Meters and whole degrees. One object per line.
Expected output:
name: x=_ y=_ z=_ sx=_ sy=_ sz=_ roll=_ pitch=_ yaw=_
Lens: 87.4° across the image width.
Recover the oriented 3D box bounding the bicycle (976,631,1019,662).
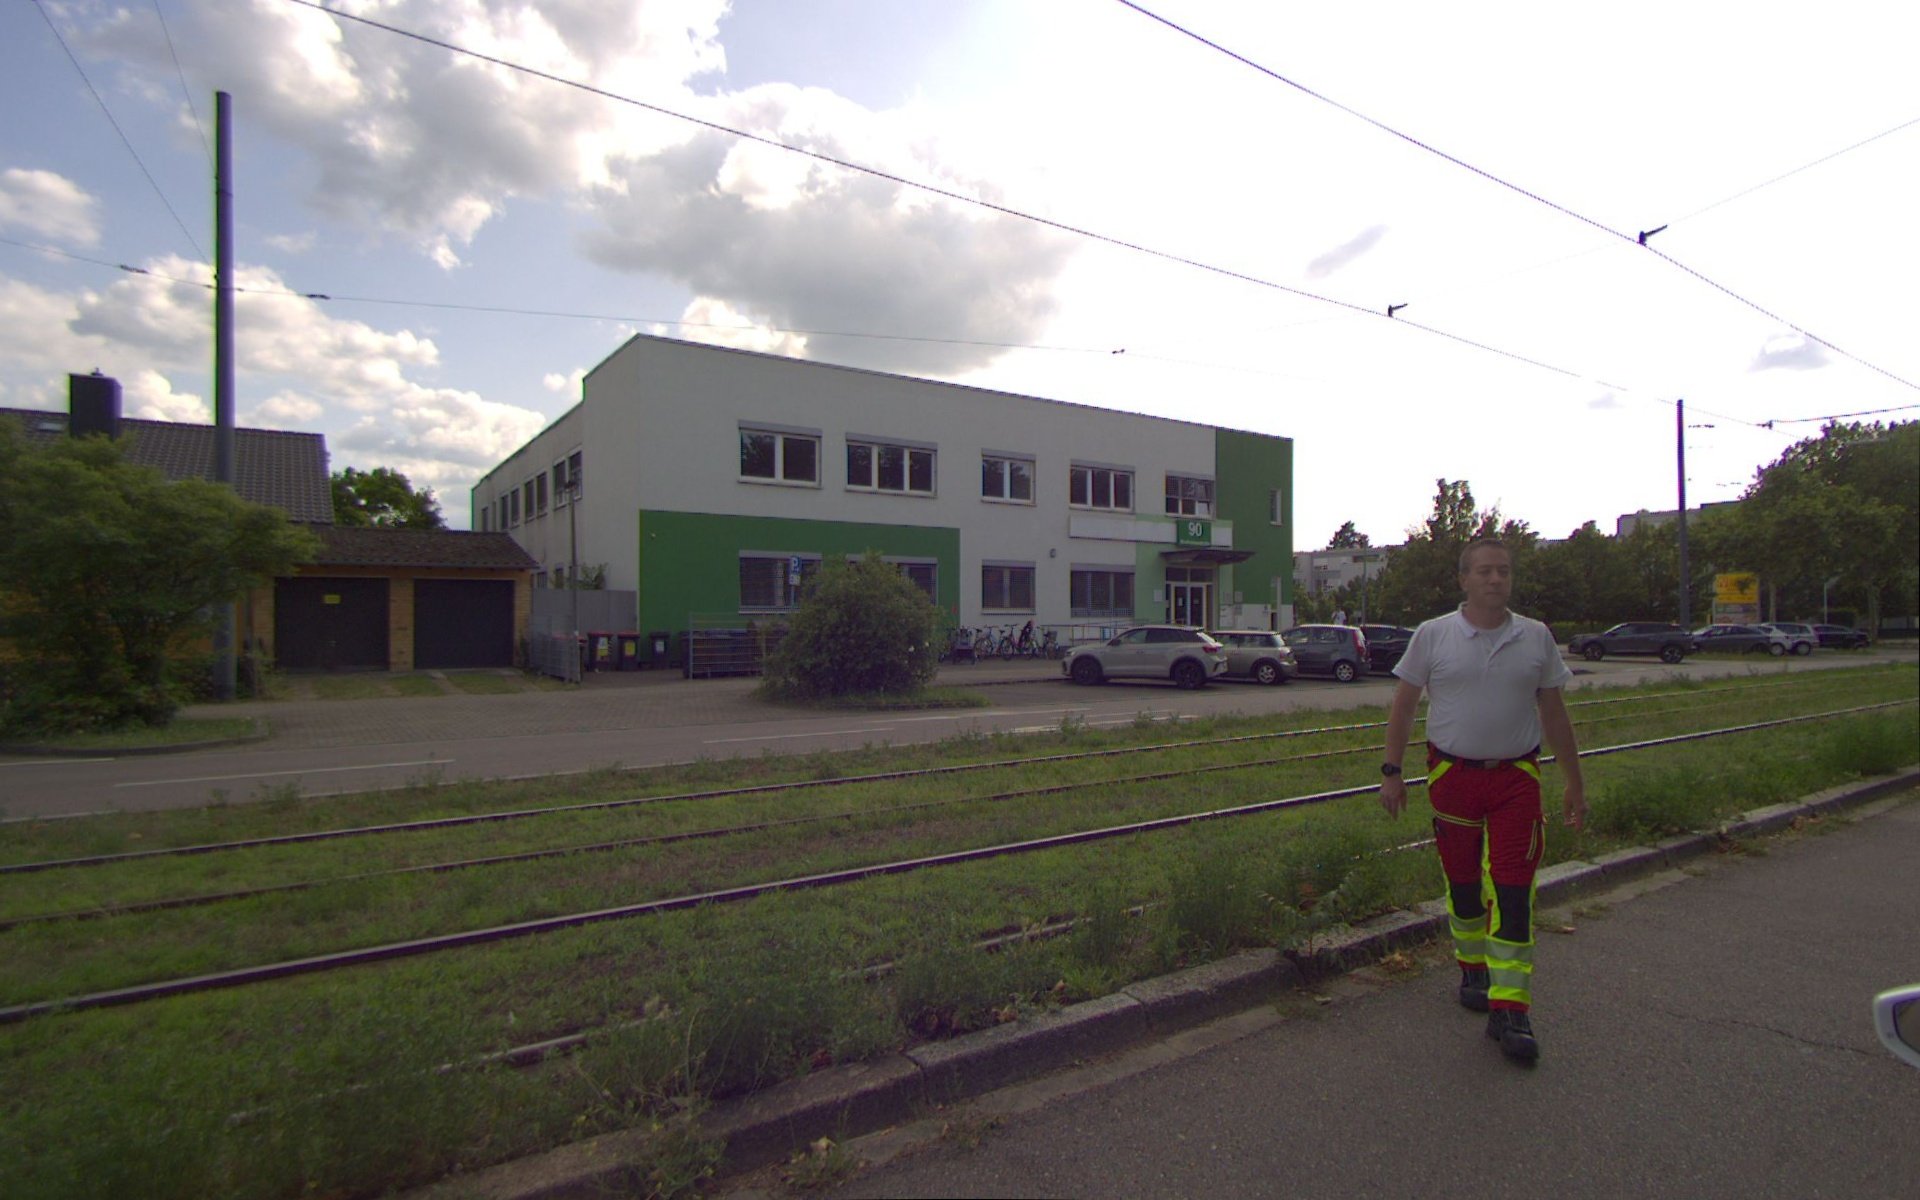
bicycle: x=1.237 y=1.546 z=33.627 sx=0.454 sy=0.911 sz=1.847 roll=2 pitch=0 yaw=-33

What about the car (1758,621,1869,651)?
car: x=46.092 y=1.943 z=54.346 sx=4.150 sy=1.501 sz=1.884 roll=1 pitch=-1 yaw=17

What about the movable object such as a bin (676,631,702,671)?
movable object such as a bin: x=-7.609 y=1.418 z=28.159 sx=0.558 sy=1.056 sz=0.565 roll=-1 pitch=1 yaw=-33

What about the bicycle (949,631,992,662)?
bicycle: x=0.316 y=1.517 z=32.965 sx=0.454 sy=0.911 sz=1.847 roll=2 pitch=0 yaw=-33

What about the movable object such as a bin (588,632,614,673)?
movable object such as a bin: x=-9.577 y=1.397 z=26.800 sx=0.558 sy=1.056 sz=0.565 roll=-1 pitch=1 yaw=-33

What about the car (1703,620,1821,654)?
car: x=39.494 y=1.799 z=49.603 sx=4.152 sy=1.501 sz=1.883 roll=1 pitch=-1 yaw=21

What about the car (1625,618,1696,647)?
car: x=47.832 y=2.177 z=68.700 sx=1.961 sy=1.773 sz=3.998 roll=1 pitch=0 yaw=-2

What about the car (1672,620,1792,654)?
car: x=36.891 y=1.760 z=48.106 sx=4.152 sy=1.501 sz=1.883 roll=1 pitch=-1 yaw=21

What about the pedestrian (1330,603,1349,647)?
pedestrian: x=16.091 y=1.076 z=42.622 sx=0.504 sy=1.852 sz=0.542 roll=1 pitch=-1 yaw=-36

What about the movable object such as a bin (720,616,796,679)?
movable object such as a bin: x=-5.203 y=1.195 z=25.905 sx=1.692 sy=1.540 sz=1.000 roll=0 pitch=1 yaw=-32

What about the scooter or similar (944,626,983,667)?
scooter or similar: x=0.087 y=1.427 z=30.889 sx=1.073 sy=1.171 sz=1.306 roll=2 pitch=0 yaw=-5

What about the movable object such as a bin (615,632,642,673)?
movable object such as a bin: x=-8.986 y=1.425 z=27.228 sx=0.558 sy=1.056 sz=0.565 roll=-1 pitch=1 yaw=-33

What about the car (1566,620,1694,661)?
car: x=26.677 y=1.588 z=40.155 sx=4.161 sy=1.501 sz=1.879 roll=1 pitch=-1 yaw=32

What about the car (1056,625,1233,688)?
car: x=4.731 y=1.403 z=25.719 sx=4.153 sy=1.501 sz=1.883 roll=-1 pitch=-1 yaw=22

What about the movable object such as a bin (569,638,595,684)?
movable object such as a bin: x=-9.021 y=1.447 z=23.978 sx=0.477 sy=1.056 sz=0.501 roll=-1 pitch=1 yaw=-34

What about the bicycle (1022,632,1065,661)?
bicycle: x=2.866 y=1.590 z=34.674 sx=0.454 sy=0.911 sz=1.847 roll=2 pitch=0 yaw=-33

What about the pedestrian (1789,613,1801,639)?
pedestrian: x=54.864 y=1.715 z=65.968 sx=0.597 sy=1.699 sz=0.463 roll=1 pitch=-1 yaw=-36

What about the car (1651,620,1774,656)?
car: x=34.604 y=1.722 z=46.326 sx=4.152 sy=1.501 sz=1.883 roll=1 pitch=-1 yaw=21

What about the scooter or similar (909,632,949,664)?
scooter or similar: x=-1.000 y=1.531 z=32.218 sx=0.454 sy=0.911 sz=1.725 roll=2 pitch=0 yaw=-33

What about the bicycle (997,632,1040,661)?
bicycle: x=1.977 y=1.570 z=34.123 sx=0.454 sy=0.911 sz=1.847 roll=2 pitch=0 yaw=-33

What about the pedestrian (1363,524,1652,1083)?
pedestrian: x=1.893 y=0.627 z=3.611 sx=0.790 sy=1.709 sz=0.851 roll=0 pitch=0 yaw=21

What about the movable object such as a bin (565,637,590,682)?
movable object such as a bin: x=-9.321 y=1.432 z=24.447 sx=0.474 sy=1.056 sz=0.490 roll=-1 pitch=1 yaw=-34

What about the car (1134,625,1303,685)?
car: x=7.047 y=1.464 z=27.412 sx=4.157 sy=1.501 sz=1.881 roll=-1 pitch=-2 yaw=27

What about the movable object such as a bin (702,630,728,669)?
movable object such as a bin: x=-6.964 y=1.391 z=28.578 sx=0.558 sy=1.056 sz=0.565 roll=-1 pitch=1 yaw=-33

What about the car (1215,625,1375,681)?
car: x=9.661 y=1.504 z=28.986 sx=4.157 sy=1.501 sz=1.881 roll=-1 pitch=-2 yaw=27

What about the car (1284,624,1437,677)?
car: x=12.219 y=1.513 z=30.663 sx=4.157 sy=1.501 sz=1.881 roll=-1 pitch=-2 yaw=27

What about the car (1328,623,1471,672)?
car: x=14.333 y=1.523 z=32.802 sx=4.157 sy=1.501 sz=1.881 roll=-1 pitch=-2 yaw=27

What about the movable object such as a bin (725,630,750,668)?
movable object such as a bin: x=-6.413 y=1.409 z=28.919 sx=0.558 sy=1.056 sz=0.565 roll=-1 pitch=1 yaw=-33

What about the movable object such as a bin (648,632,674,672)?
movable object such as a bin: x=-8.253 y=1.431 z=27.757 sx=0.558 sy=1.056 sz=0.565 roll=-1 pitch=1 yaw=-33

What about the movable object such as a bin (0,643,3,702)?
movable object such as a bin: x=-18.458 y=1.356 z=18.076 sx=1.602 sy=1.107 sz=1.246 roll=0 pitch=-1 yaw=-35

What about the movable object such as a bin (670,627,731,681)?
movable object such as a bin: x=-6.484 y=1.338 z=25.088 sx=1.242 sy=1.251 sz=1.000 roll=0 pitch=1 yaw=-32
